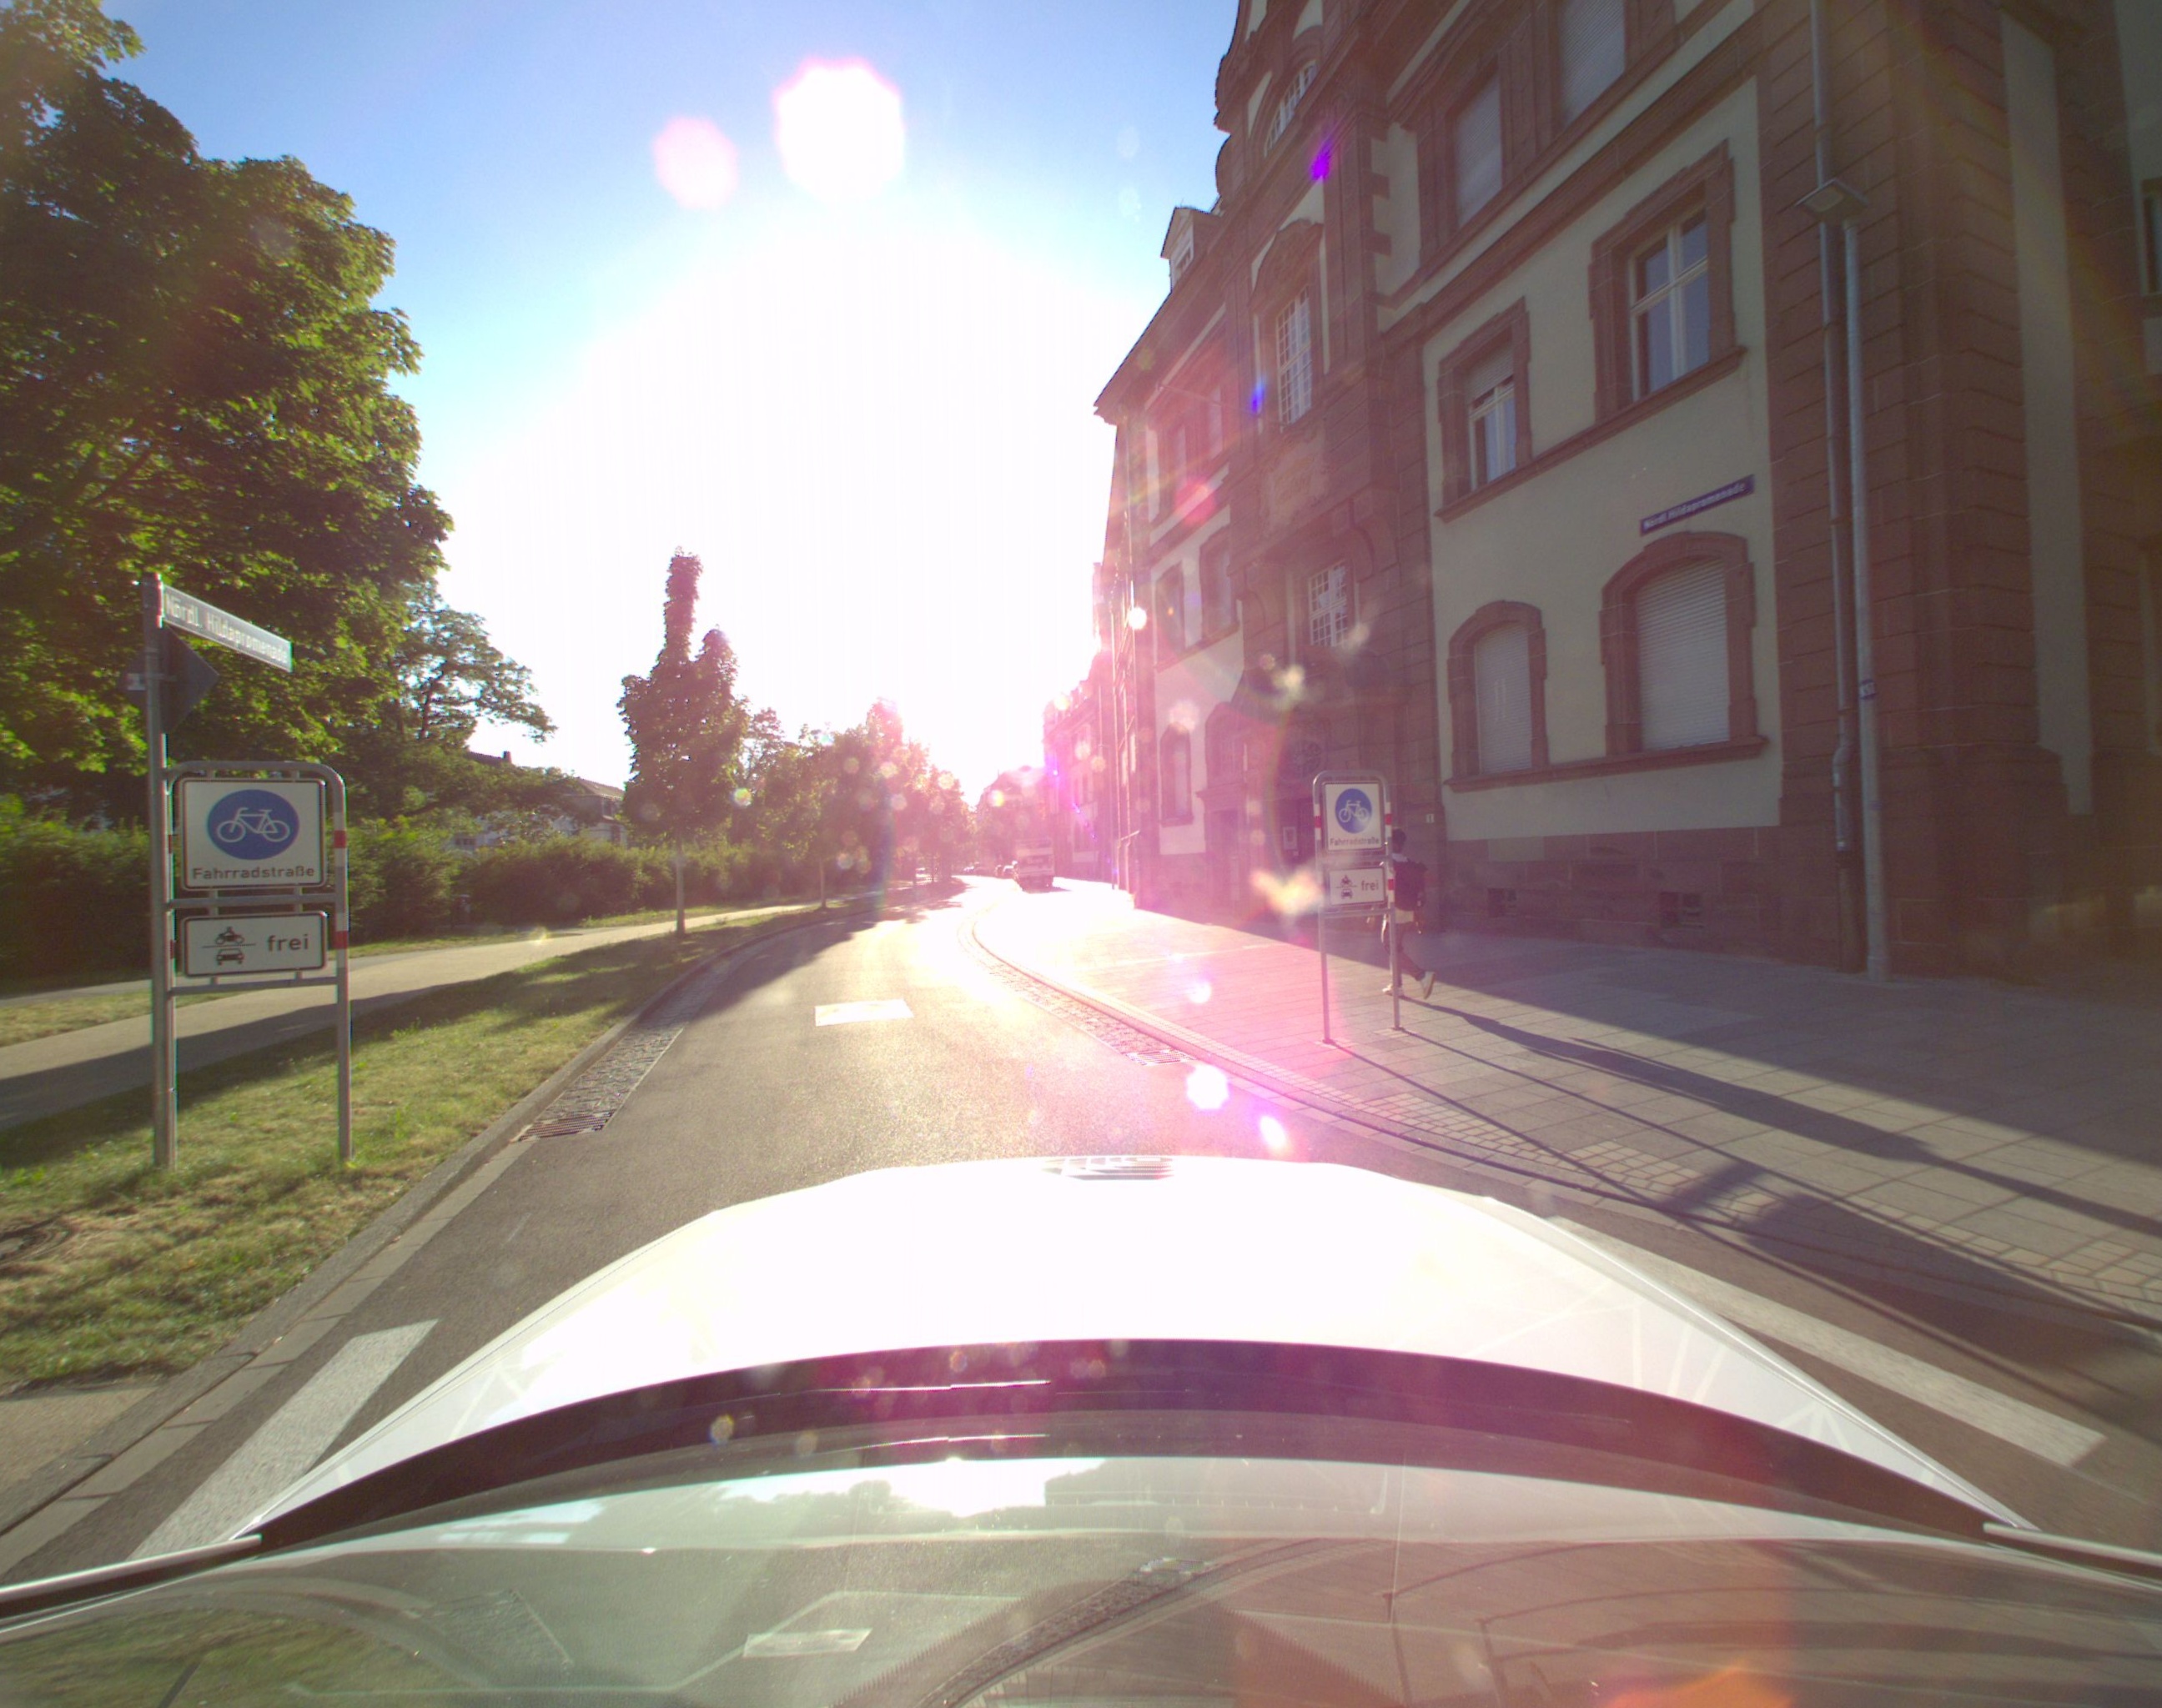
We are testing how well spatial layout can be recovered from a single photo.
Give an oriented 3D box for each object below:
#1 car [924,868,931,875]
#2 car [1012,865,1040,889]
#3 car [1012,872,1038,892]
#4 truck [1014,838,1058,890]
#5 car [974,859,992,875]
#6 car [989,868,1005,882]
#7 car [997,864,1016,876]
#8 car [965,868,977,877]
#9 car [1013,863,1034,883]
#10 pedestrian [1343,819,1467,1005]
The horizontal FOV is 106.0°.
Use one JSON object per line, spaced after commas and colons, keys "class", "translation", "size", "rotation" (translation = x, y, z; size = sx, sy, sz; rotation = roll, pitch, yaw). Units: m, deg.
{"class": "car", "translation": [-42.345, 4.894, 224.541], "size": [1.797, 1.724, 3.980], "rotation": [-2, -1, -14]}
{"class": "car", "translation": [-4.055, 1.650, 59.450], "size": [1.767, 1.530, 4.561], "rotation": [-4, -1, -7]}
{"class": "car", "translation": [-4.695, 2.323, 67.916], "size": [1.870, 1.436, 4.510], "rotation": [-4, -1, -8]}
{"class": "truck", "translation": [-3.029, 0.656, 53.405], "size": [2.619, 3.121, 6.076], "rotation": [-2, -1, -5]}
{"class": "car", "translation": [-16.819, 2.180, 139.439], "size": [2.215, 2.530, 6.116], "rotation": [-4, 0, -14]}
{"class": "car", "translation": [-11.500, 2.867, 111.106], "size": [1.726, 1.669, 4.096], "rotation": [-3, 0, -12]}
{"class": "car", "translation": [-9.226, 1.982, 100.841], "size": [1.749, 1.466, 4.458], "rotation": [-2, -1, -12]}
{"class": "car", "translation": [-20.243, 3.430, 149.995], "size": [1.694, 1.440, 3.531], "rotation": [-3, 0, -16]}
{"class": "car", "translation": [-6.325, 2.132, 89.305], "size": [1.991, 1.966, 4.839], "rotation": [-5, -1, -6]}
{"class": "pedestrian", "translation": [3.236, 0.549, 8.214], "size": [0.534, 1.718, 0.996], "rotation": [-4, 0, -19]}
